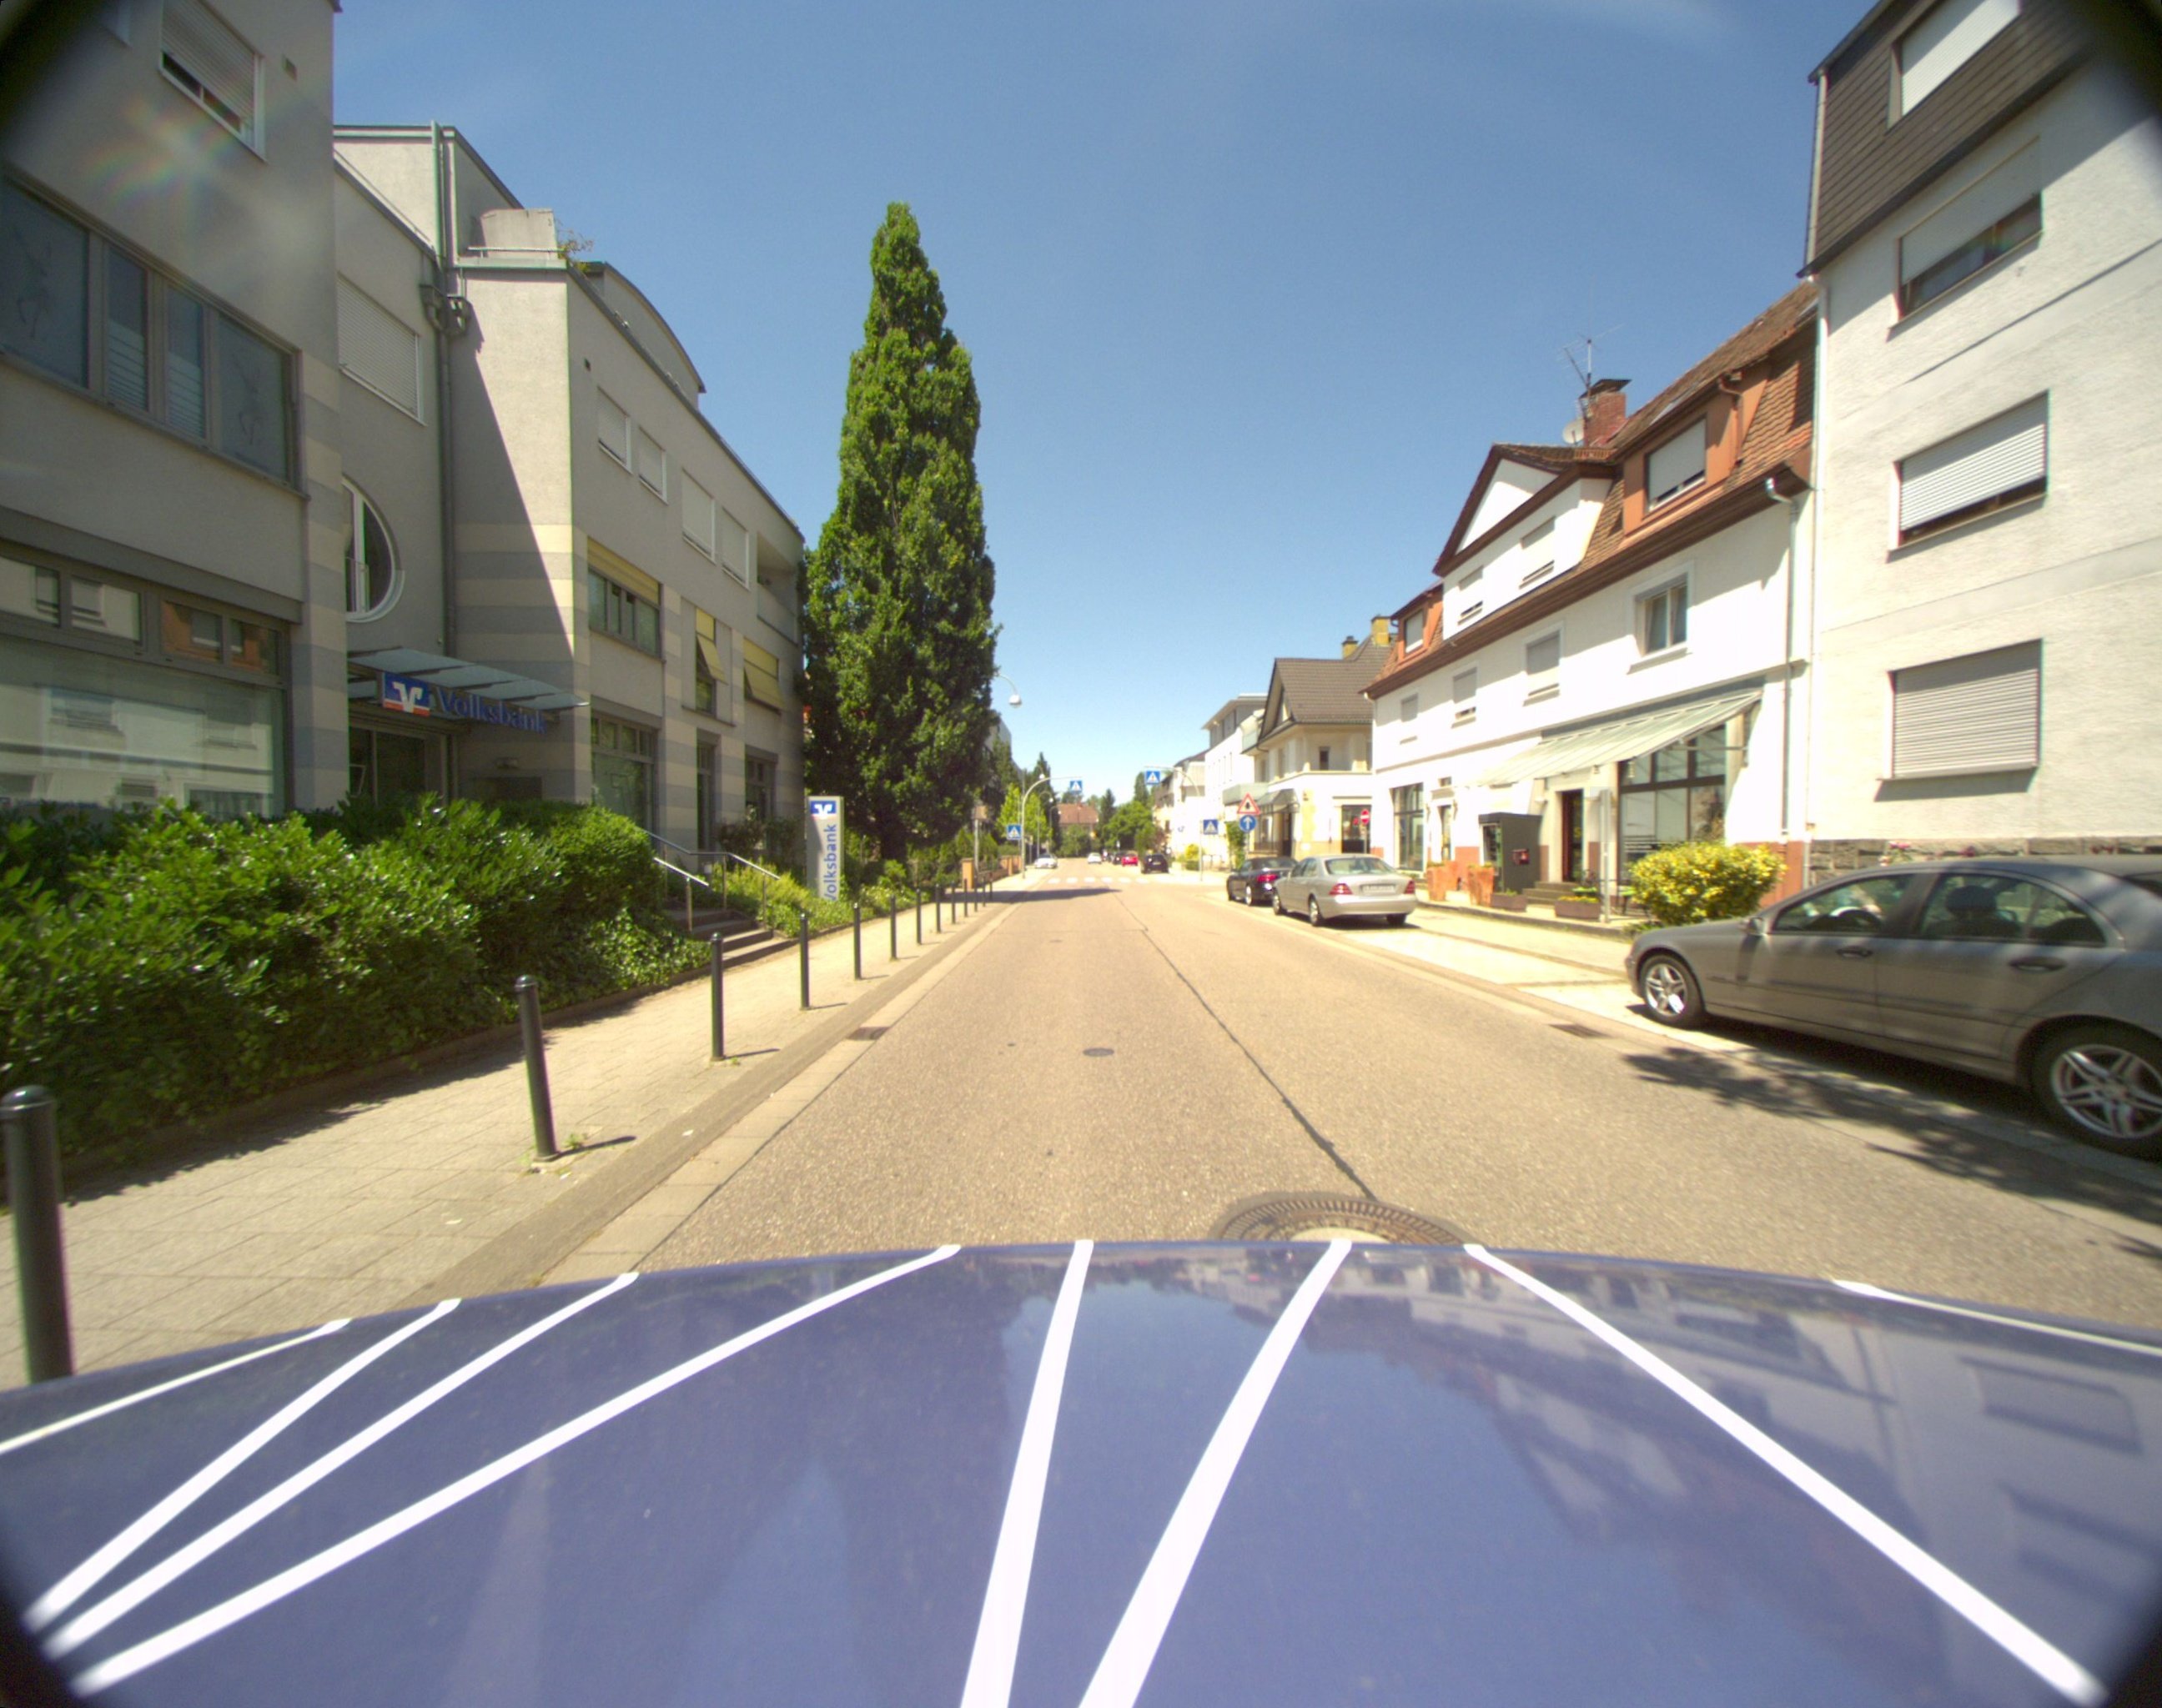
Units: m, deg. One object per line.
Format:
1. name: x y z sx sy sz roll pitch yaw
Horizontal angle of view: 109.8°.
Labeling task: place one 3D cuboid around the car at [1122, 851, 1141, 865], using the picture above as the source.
1. car: 5.530 0.412 84.045 1.737 1.444 4.259 -3 1 0

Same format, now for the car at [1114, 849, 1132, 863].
1. car: 5.260 0.272 95.338 1.925 1.577 4.435 -3 1 0

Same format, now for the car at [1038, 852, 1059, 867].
1. car: -3.289 0.557 76.544 1.920 1.460 4.879 1 0 0

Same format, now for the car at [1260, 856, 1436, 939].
1. car: 5.569 0.809 16.719 1.986 1.444 5.357 -1 0 0

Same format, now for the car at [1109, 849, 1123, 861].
1. car: 5.257 0.119 115.247 1.925 1.681 4.287 -3 1 1

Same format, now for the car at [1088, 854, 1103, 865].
1. car: 1.982 0.717 103.164 1.812 1.473 3.868 1 1 -2

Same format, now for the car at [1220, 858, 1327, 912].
1. car: 5.588 0.831 22.789 1.947 1.365 5.097 -1 0 0

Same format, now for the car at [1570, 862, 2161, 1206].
1. car: 5.815 0.836 4.996 1.986 1.444 4.867 -1 0 -1

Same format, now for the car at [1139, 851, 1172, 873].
1. car: 5.506 0.563 56.520 1.921 1.444 5.148 -3 0 0
